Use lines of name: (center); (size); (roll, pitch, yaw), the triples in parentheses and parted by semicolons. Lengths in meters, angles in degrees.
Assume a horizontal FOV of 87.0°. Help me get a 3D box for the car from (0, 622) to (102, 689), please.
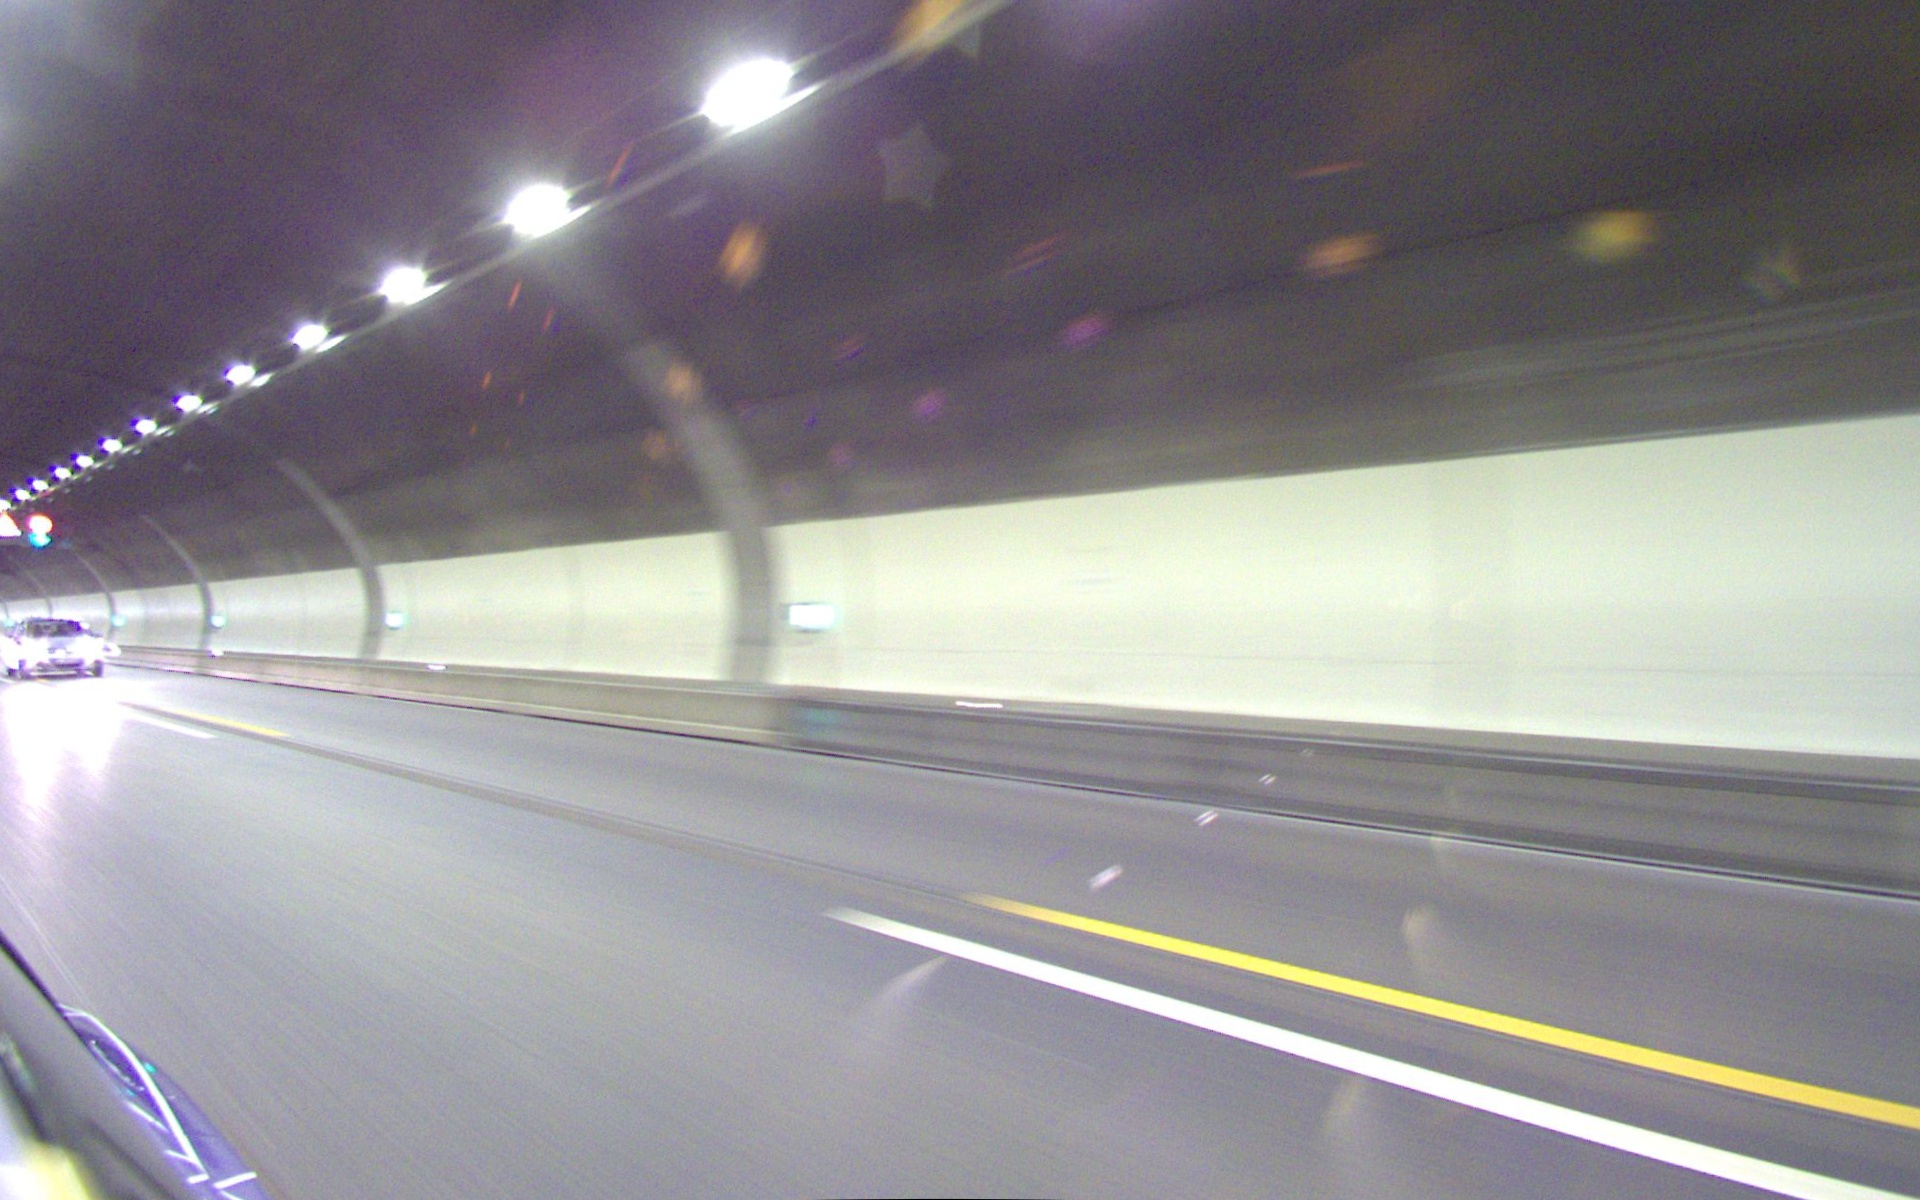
car: (-24.016, 1.394, 26.512); (4.095, 1.584, 1.744); (-1, 0, 41)
